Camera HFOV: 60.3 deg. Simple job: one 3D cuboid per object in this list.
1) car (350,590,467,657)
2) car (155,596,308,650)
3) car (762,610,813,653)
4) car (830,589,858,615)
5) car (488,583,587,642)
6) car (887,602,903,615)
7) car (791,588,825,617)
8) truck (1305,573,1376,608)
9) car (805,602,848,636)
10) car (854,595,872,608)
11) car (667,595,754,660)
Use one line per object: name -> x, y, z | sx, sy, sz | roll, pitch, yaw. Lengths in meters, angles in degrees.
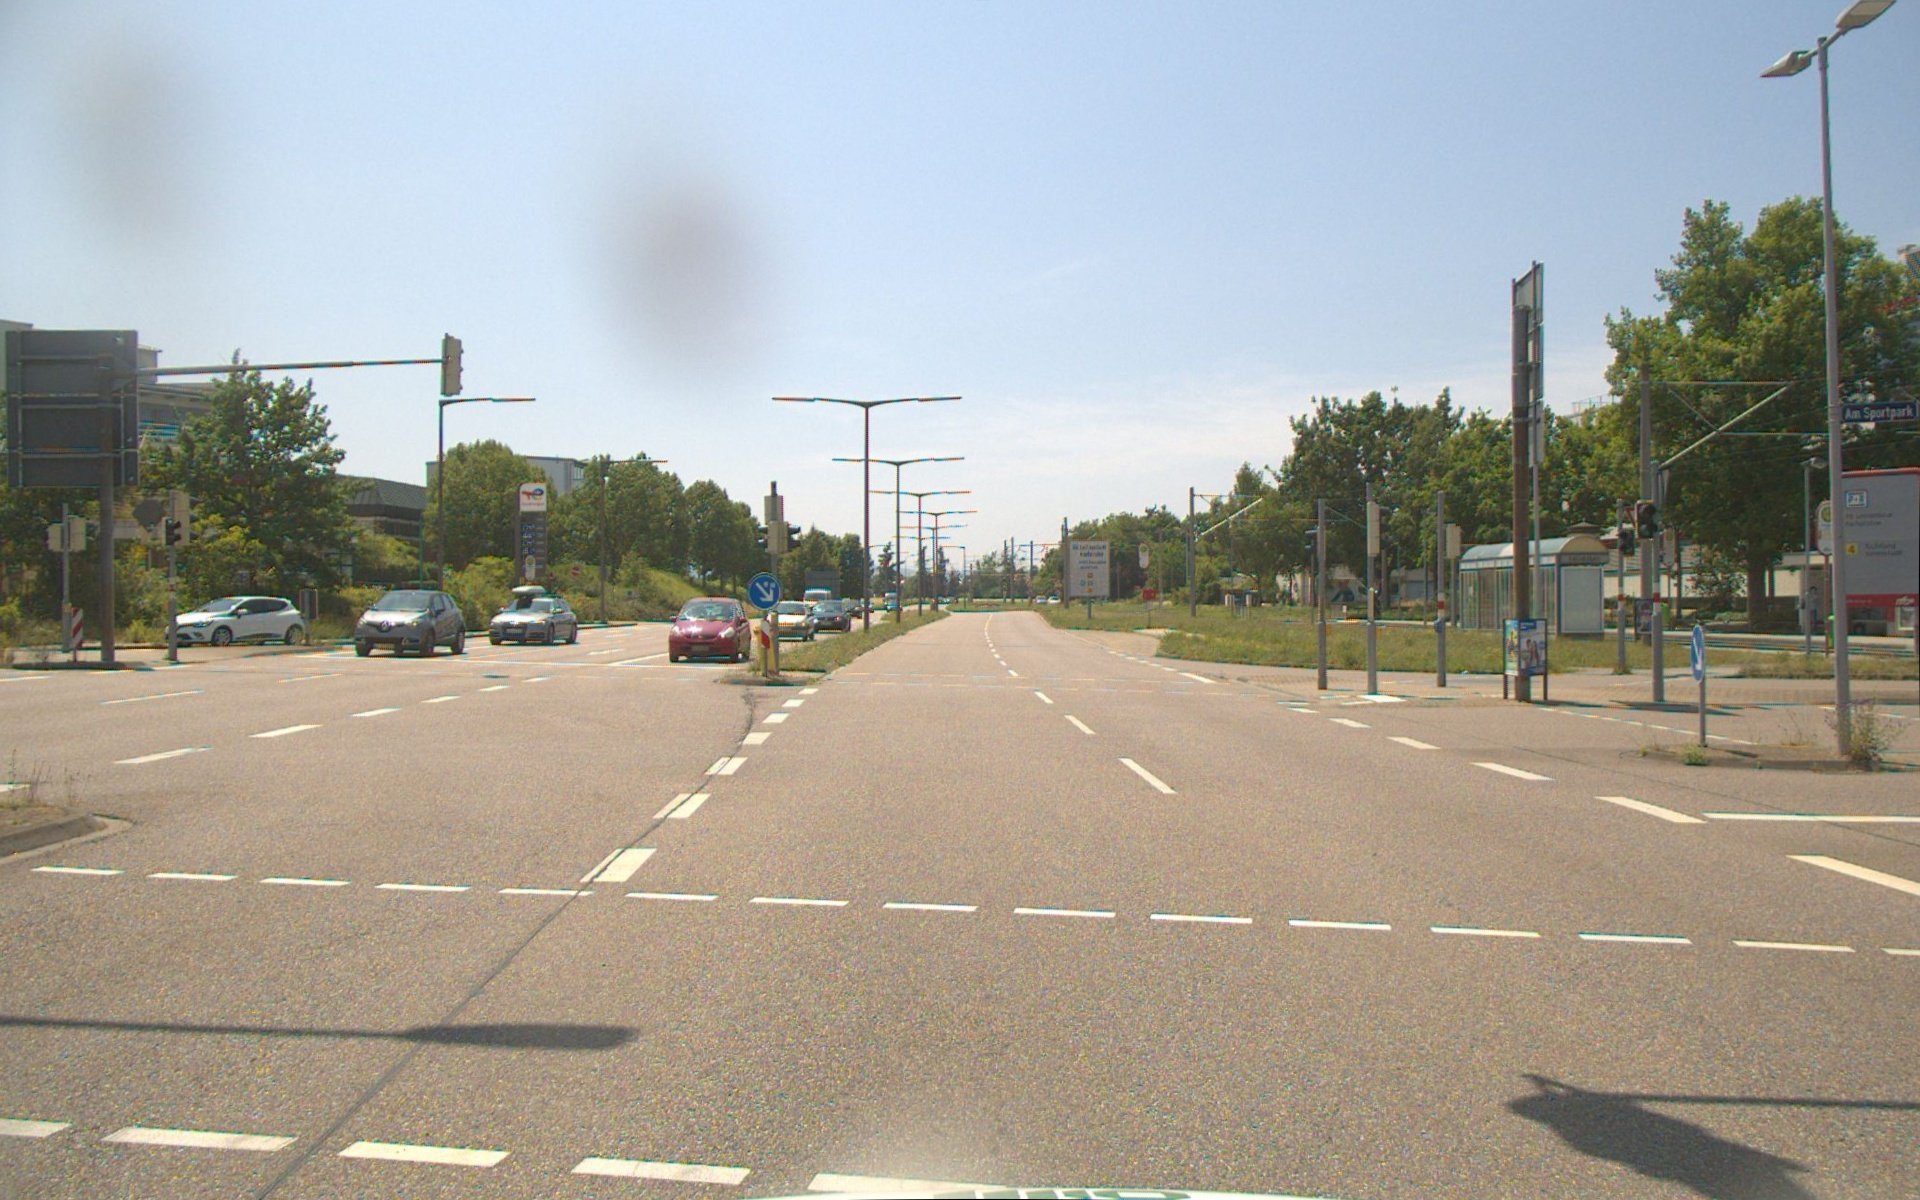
car -> -13.510, 0.550, 40.736 | 1.625, 1.566, 3.999 | 0, 0, -2
car -> -20.684, 0.652, 47.111 | 1.786, 1.475, 3.826 | 0, -1, 22
car -> -6.288, 1.123, 60.561 | 1.529, 1.448, 3.853 | 0, 1, -2
car -> -9.214, 0.184, 132.132 | 1.953, 2.049, 3.999 | 1, -1, -1
car -> -13.177, 0.367, 51.895 | 1.925, 1.780, 5.020 | 0, 0, -2
car -> -7.830, 1.029, 200.023 | 1.695, 1.483, 4.565 | 0, 0, 1
car -> -12.632, 0.235, 138.005 | 2.203, 2.313, 5.449 | 1, 0, 1
truck -> 34.006, -0.834, 147.901 | 5.730, 2.893, 2.316 | -2, -1, -8
car -> -5.935, 0.808, 74.071 | 1.642, 1.459, 4.190 | 0, 0, -1
car -> -11.088, 0.181, 189.529 | 1.794, 1.474, 4.850 | 0, 0, -1
car -> -6.071, 0.629, 40.607 | 1.625, 1.516, 3.999 | 0, 0, -2
